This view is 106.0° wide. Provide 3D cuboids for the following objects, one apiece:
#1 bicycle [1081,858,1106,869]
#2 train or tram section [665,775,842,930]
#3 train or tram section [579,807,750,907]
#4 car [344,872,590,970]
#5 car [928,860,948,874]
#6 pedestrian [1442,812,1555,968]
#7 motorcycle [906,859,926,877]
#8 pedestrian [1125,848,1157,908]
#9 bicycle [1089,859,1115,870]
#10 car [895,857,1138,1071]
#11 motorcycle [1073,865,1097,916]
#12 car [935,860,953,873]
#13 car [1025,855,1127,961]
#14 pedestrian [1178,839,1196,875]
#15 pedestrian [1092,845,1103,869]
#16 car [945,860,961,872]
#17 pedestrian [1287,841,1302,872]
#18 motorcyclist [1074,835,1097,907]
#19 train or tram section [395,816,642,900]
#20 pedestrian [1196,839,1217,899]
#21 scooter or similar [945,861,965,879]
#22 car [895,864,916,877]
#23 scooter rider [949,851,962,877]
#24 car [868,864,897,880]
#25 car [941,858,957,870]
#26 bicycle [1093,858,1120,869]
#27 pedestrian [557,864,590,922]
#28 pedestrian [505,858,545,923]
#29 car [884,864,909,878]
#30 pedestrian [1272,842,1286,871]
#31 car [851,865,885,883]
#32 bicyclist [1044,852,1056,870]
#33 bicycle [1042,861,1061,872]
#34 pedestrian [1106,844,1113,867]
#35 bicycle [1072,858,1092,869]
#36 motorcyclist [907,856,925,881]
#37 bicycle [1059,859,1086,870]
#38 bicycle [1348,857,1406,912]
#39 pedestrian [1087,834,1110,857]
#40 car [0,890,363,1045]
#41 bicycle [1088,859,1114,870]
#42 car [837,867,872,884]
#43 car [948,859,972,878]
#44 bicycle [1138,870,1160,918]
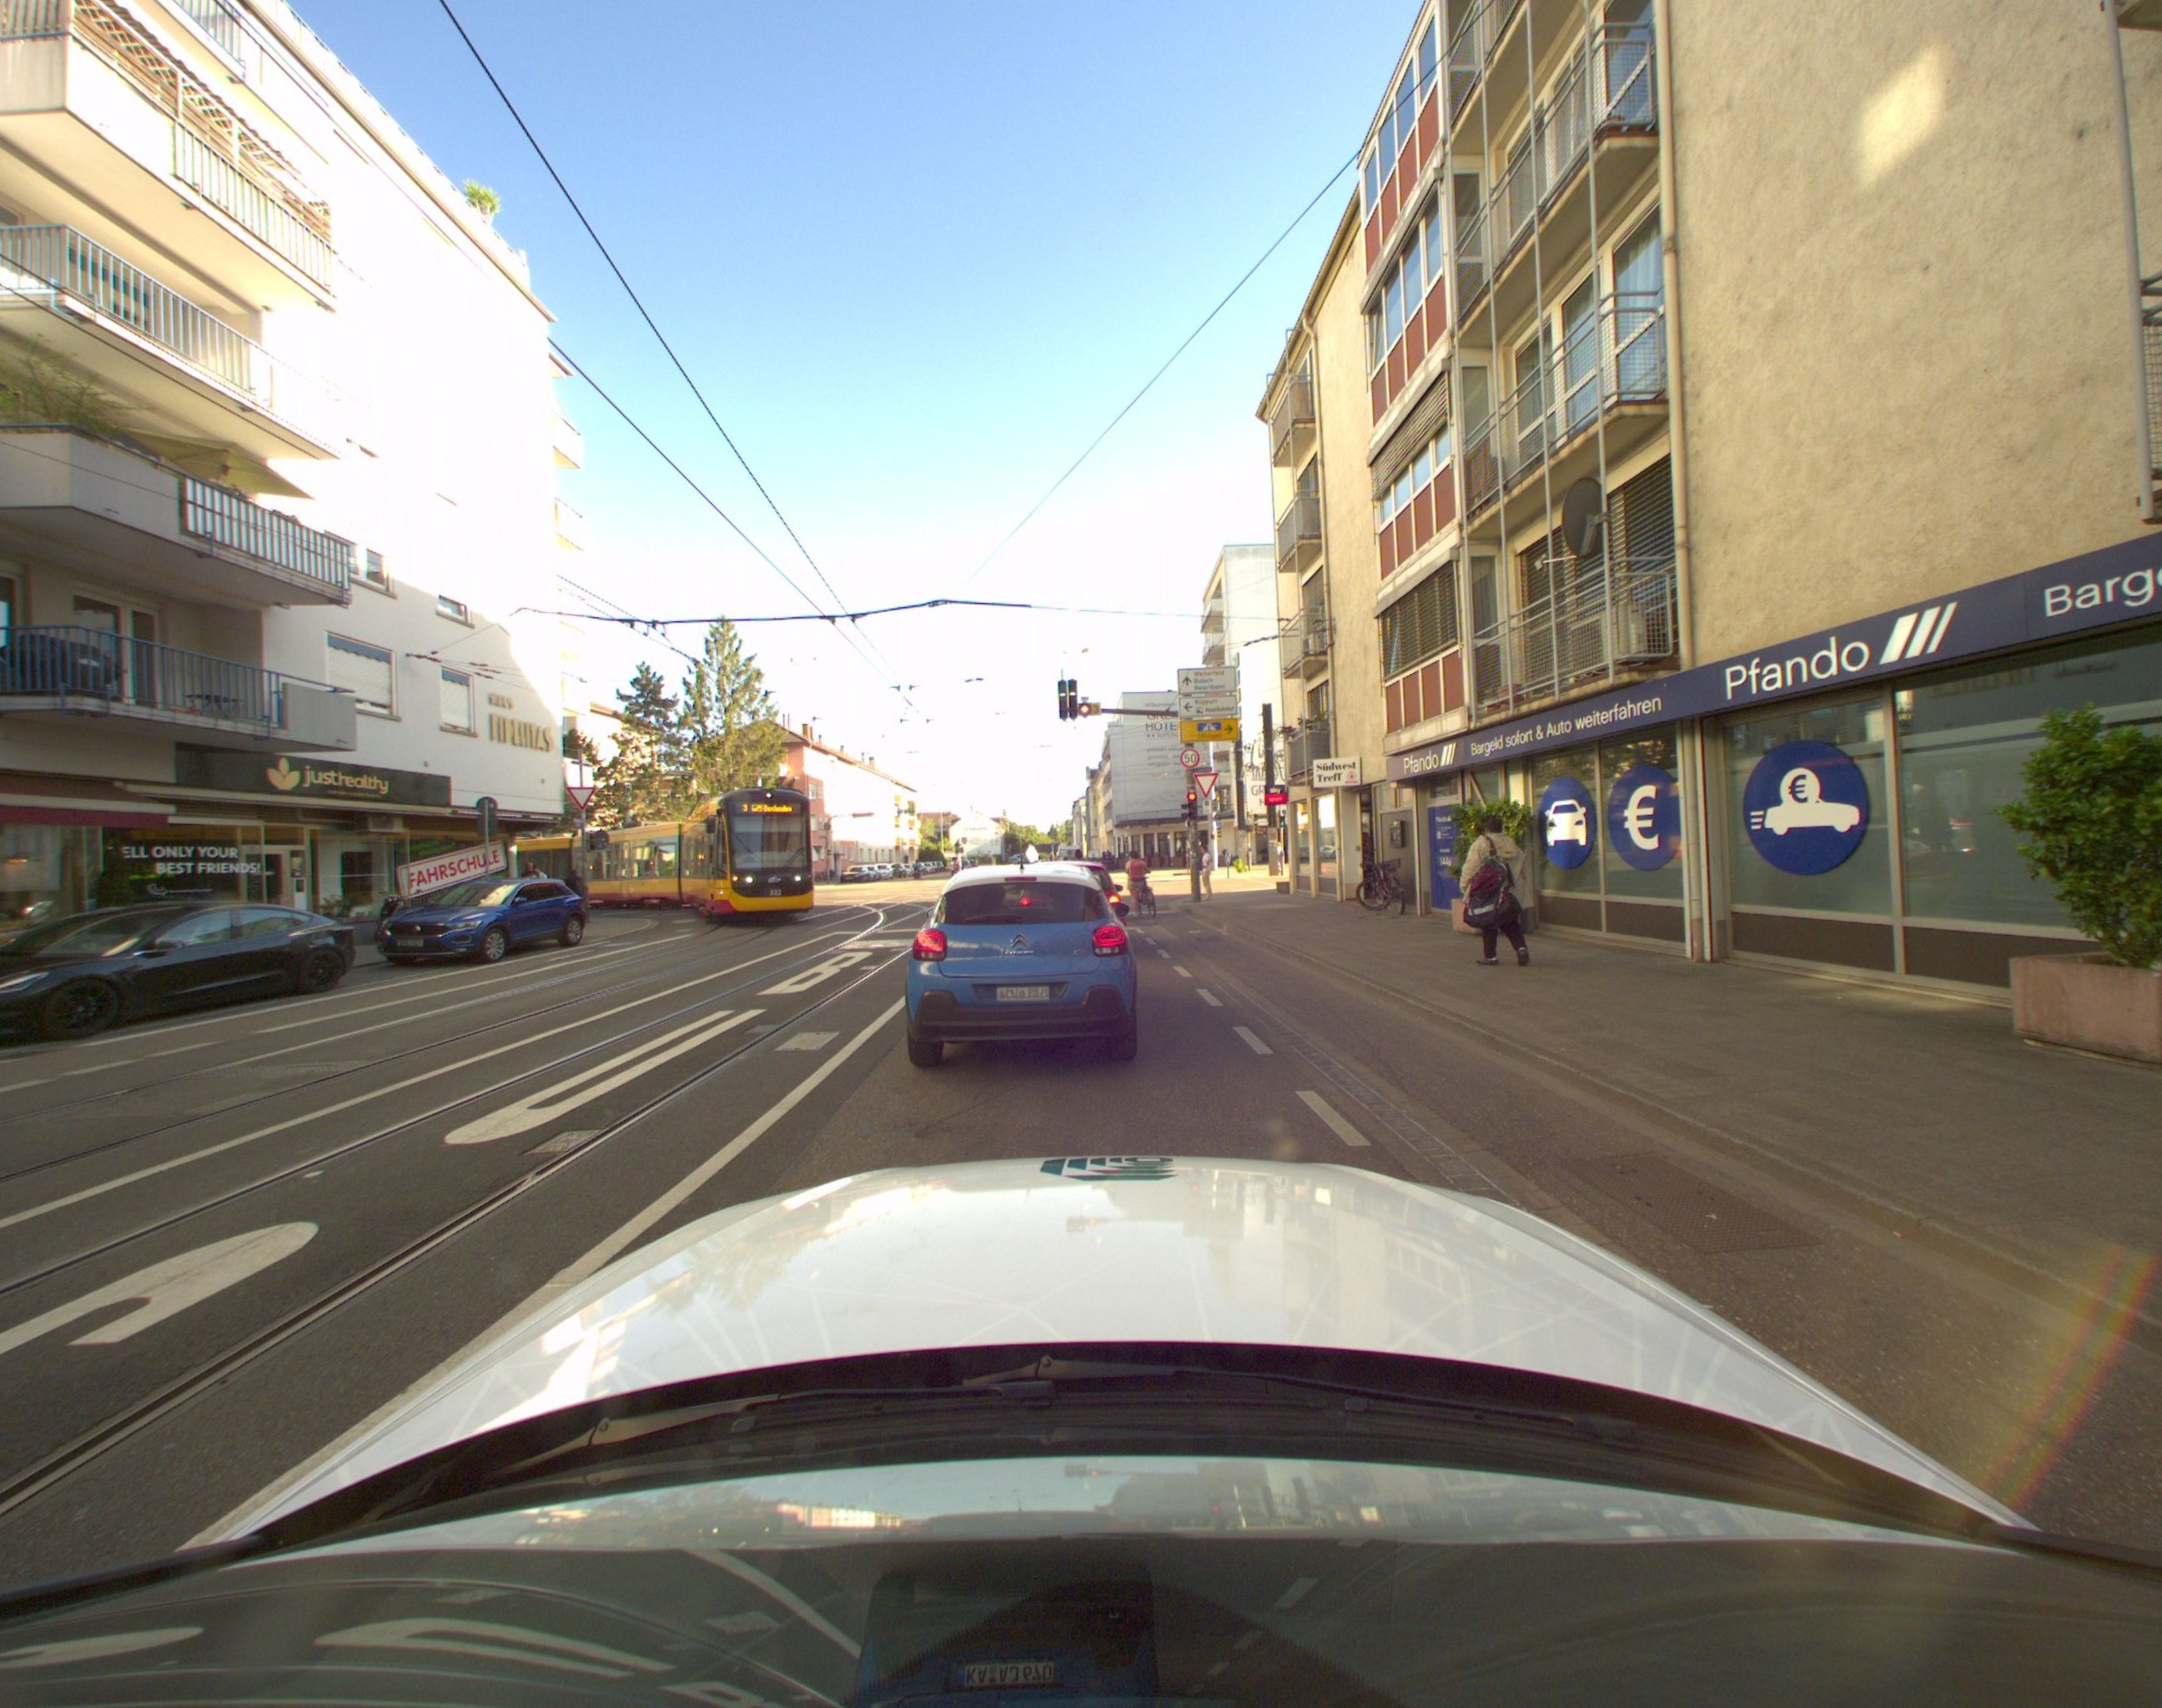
[{"bbox_3d":[1.055,0.820,68.449,2.130,0.901,0.366,0,-1,-7],"label":"bicycle"},{"bbox_3d":[-10.554,0.080,25.003,3.082,3.594,12.505,-2,0,-31],"label":"train or tram section"},{"bbox_3d":[-17.376,0.141,33.624,8.967,3.631,2.852,-1,-1,38],"label":"train or tram section"},{"bbox_3d":[-11.940,1.206,16.259,1.864,1.531,4.068,-2,0,-2],"label":"car"},{"bbox_3d":[-18.658,1.668,106.296,1.978,1.687,3.998,0,-1,-1],"label":"car"},{"bbox_3d":[4.455,0.374,8.744,0.822,1.593,0.751,0,-1,1],"label":"pedestrian"},{"bbox_3d":[-13.674,1.155,67.479,0.921,1.486,3.724,0,-1,-1],"label":"motorcycle"},{"bbox_3d":[1.490,0.598,20.307,0.774,1.460,0.682,0,-1,1],"label":"pedestrian"},{"bbox_3d":[1.705,0.867,67.226,2.130,0.901,0.366,0,-1,-7],"label":"bicycle"},{"bbox_3d":[-0.387,0.759,7.297,1.648,1.444,3.524,0,-1,2],"label":"car"},{"bbox_3d":[0.112,0.838,19.534,0.524,1.139,2.290,0,-1,2],"label":"motorcycle"},{"bbox_3d":[-18.841,1.680,111.941,1.877,1.687,3.998,0,-1,-1],"label":"car"},{"bbox_3d":[-0.030,0.792,13.237,1.419,1.467,2.925,-2,-1,2],"label":"car"},{"bbox_3d":[6.102,0.172,46.857,0.922,2.014,0.760,0,-1,1],"label":"pedestrian"},{"bbox_3d":[1.402,0.244,69.293,0.635,2.014,0.717,0,-1,-34],"label":"pedestrian"},{"bbox_3d":[-19.180,1.763,121.941,1.841,1.687,3.872,0,-1,-1],"label":"car"},{"bbox_3d":[11.732,0.146,44.755,0.746,1.657,0.887,-1,-1,16],"label":"pedestrian"},{"bbox_3d":[0.119,0.405,19.726,0.524,1.716,0.717,0,-1,2],"label":"motorcyclist"},{"bbox_3d":[-27.484,0.239,39.465,14.091,3.632,2.769,-1,-1,23],"label":"train or tram section"},{"bbox_3d":[3.759,0.443,24.426,0.515,1.783,0.595,0,-1,0],"label":"pedestrian"},{"bbox_3d":[-9.007,1.158,58.326,1.351,1.269,0.441,-2,-1,-13],"label":"scooter or similar"},{"bbox_3d":[-19.960,1.848,92.669,1.728,1.498,3.996,0,-1,-2],"label":"car"},{"bbox_3d":[-8.991,0.709,58.323,0.723,1.832,0.714,-3,-1,-14],"label":"scooter rider"},{"bbox_3d":[-19.411,1.743,79.961,1.781,1.511,4.150,0,-1,1],"label":"car"},{"bbox_3d":[-19.029,1.440,117.455,1.828,1.687,3.998,0,-1,-1],"label":"car"},{"bbox_3d":[2.082,0.769,66.060,2.130,0.901,0.366,0,-1,-7],"label":"bicycle"},{"bbox_3d":[-16.106,1.232,25.856,0.569,1.805,0.699,0,-1,1],"label":"pedestrian"},{"bbox_3d":[-17.424,1.137,25.524,0.767,2.014,0.694,0,-1,-4],"label":"pedestrian"},{"bbox_3d":[-19.633,1.785,86.709,1.781,1.498,3.998,0,-1,-1],"label":"car"},{"bbox_3d":[10.916,0.129,44.892,0.730,1.601,0.751,-1,-1,15],"label":"pedestrian"},{"bbox_3d":[-19.290,1.781,73.889,1.808,1.498,4.302,0,0,2],"label":"car"},{"bbox_3d":[-2.529,0.576,66.121,0.738,1.477,0.566,-1,-1,44],"label":"bicyclist"},{"bbox_3d":[-2.413,0.988,65.991,1.836,0.903,0.352,-1,-1,45],"label":"bicycle"},{"bbox_3d":[2.471,0.144,70.289,0.575,2.014,0.625,0,-1,-1],"label":"pedestrian"},{"bbox_3d":[0.087,0.824,69.585,1.765,0.901,0.369,-1,-1,36],"label":"bicycle"},{"bbox_3d":[-13.716,1.161,67.880,1.182,2.013,1.275,-2,0,-1],"label":"motorcyclist"},{"bbox_3d":[-0.704,0.877,66.343,2.130,0.901,0.366,0,-1,-7],"label":"bicycle"},{"bbox_3d":[5.694,0.570,15.733,0.540,0.998,1.706,0,-1,2],"label":"bicycle"},{"bbox_3d":[1.634,-0.727,73.667,1.986,2.014,4.001,0,-1,2],"label":"pedestrian"},{"bbox_3d":[-12.038,1.293,10.423,1.816,1.387,4.425,-2,0,-2],"label":"car"},{"bbox_3d":[1.659,0.902,67.648,2.130,0.901,0.366,0,-1,-7],"label":"bicycle"},{"bbox_3d":[-19.234,1.813,69.413,1.787,1.421,3.996,0,0,1],"label":"car"},{"bbox_3d":[-11.360,1.342,76.842,1.770,1.666,3.854,0,-1,-2],"label":"car"},{"bbox_3d":[1.704,0.977,20.584,0.426,1.123,1.999,0,-1,2],"label":"bicycle"}]
